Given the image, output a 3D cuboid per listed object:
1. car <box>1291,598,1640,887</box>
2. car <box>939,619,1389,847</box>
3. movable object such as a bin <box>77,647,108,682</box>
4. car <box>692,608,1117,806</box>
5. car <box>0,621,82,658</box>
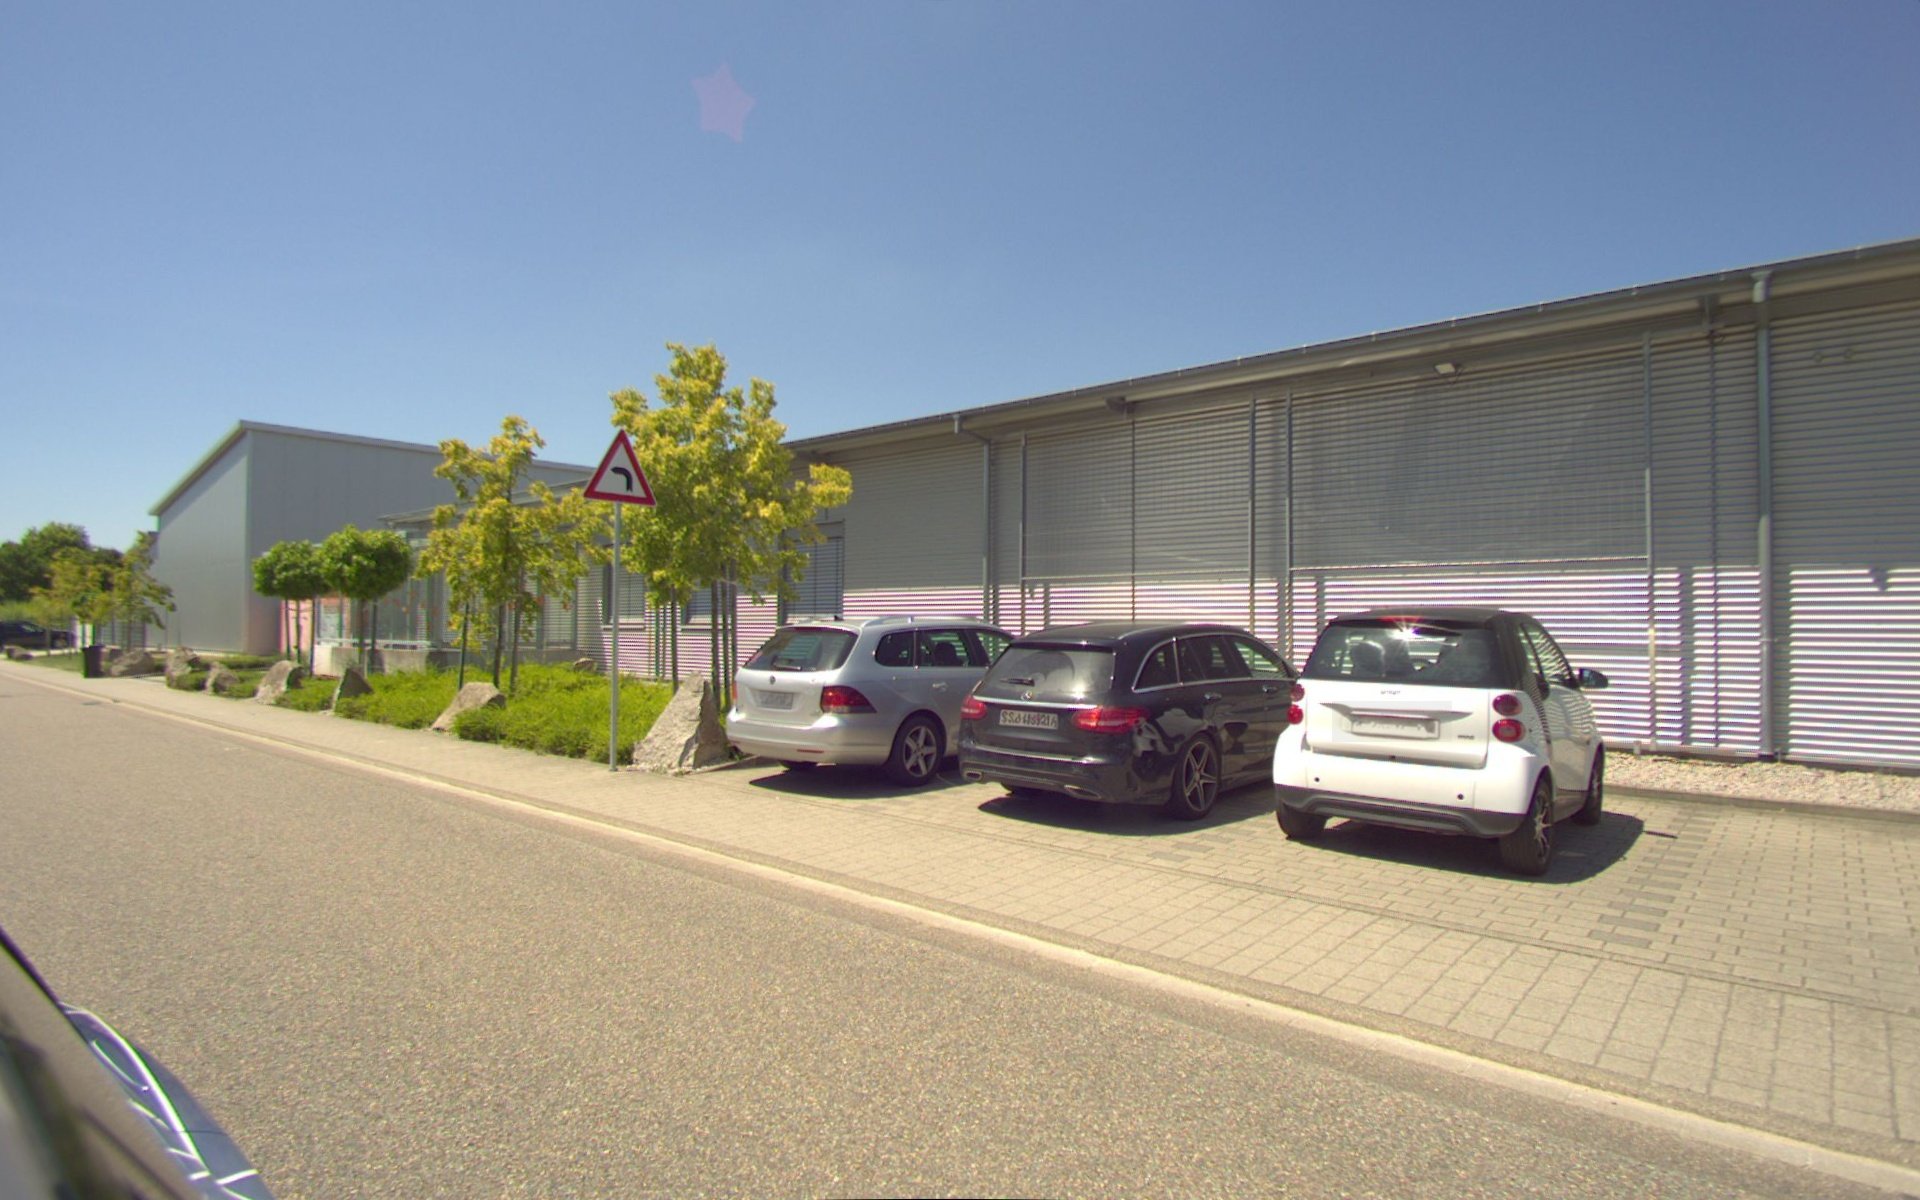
[{"bbox_3d":[3.542,0.800,6.915,1.534,1.529,2.713,-1,-2,40],"label":"car"},{"bbox_3d":[1.948,0.891,8.631,1.846,1.442,4.262,-1,-2,42],"label":"car"},{"bbox_3d":[-24.772,1.834,28.901,0.511,0.957,0.565,-2,-2,36],"label":"movable object such as a bin"},{"bbox_3d":[-0.337,0.894,10.073,1.865,1.529,4.218,-1,-2,40],"label":"car"},{"bbox_3d":[-49.403,2.083,53.574,1.781,1.671,4.120,-1,3,41],"label":"car"}]
